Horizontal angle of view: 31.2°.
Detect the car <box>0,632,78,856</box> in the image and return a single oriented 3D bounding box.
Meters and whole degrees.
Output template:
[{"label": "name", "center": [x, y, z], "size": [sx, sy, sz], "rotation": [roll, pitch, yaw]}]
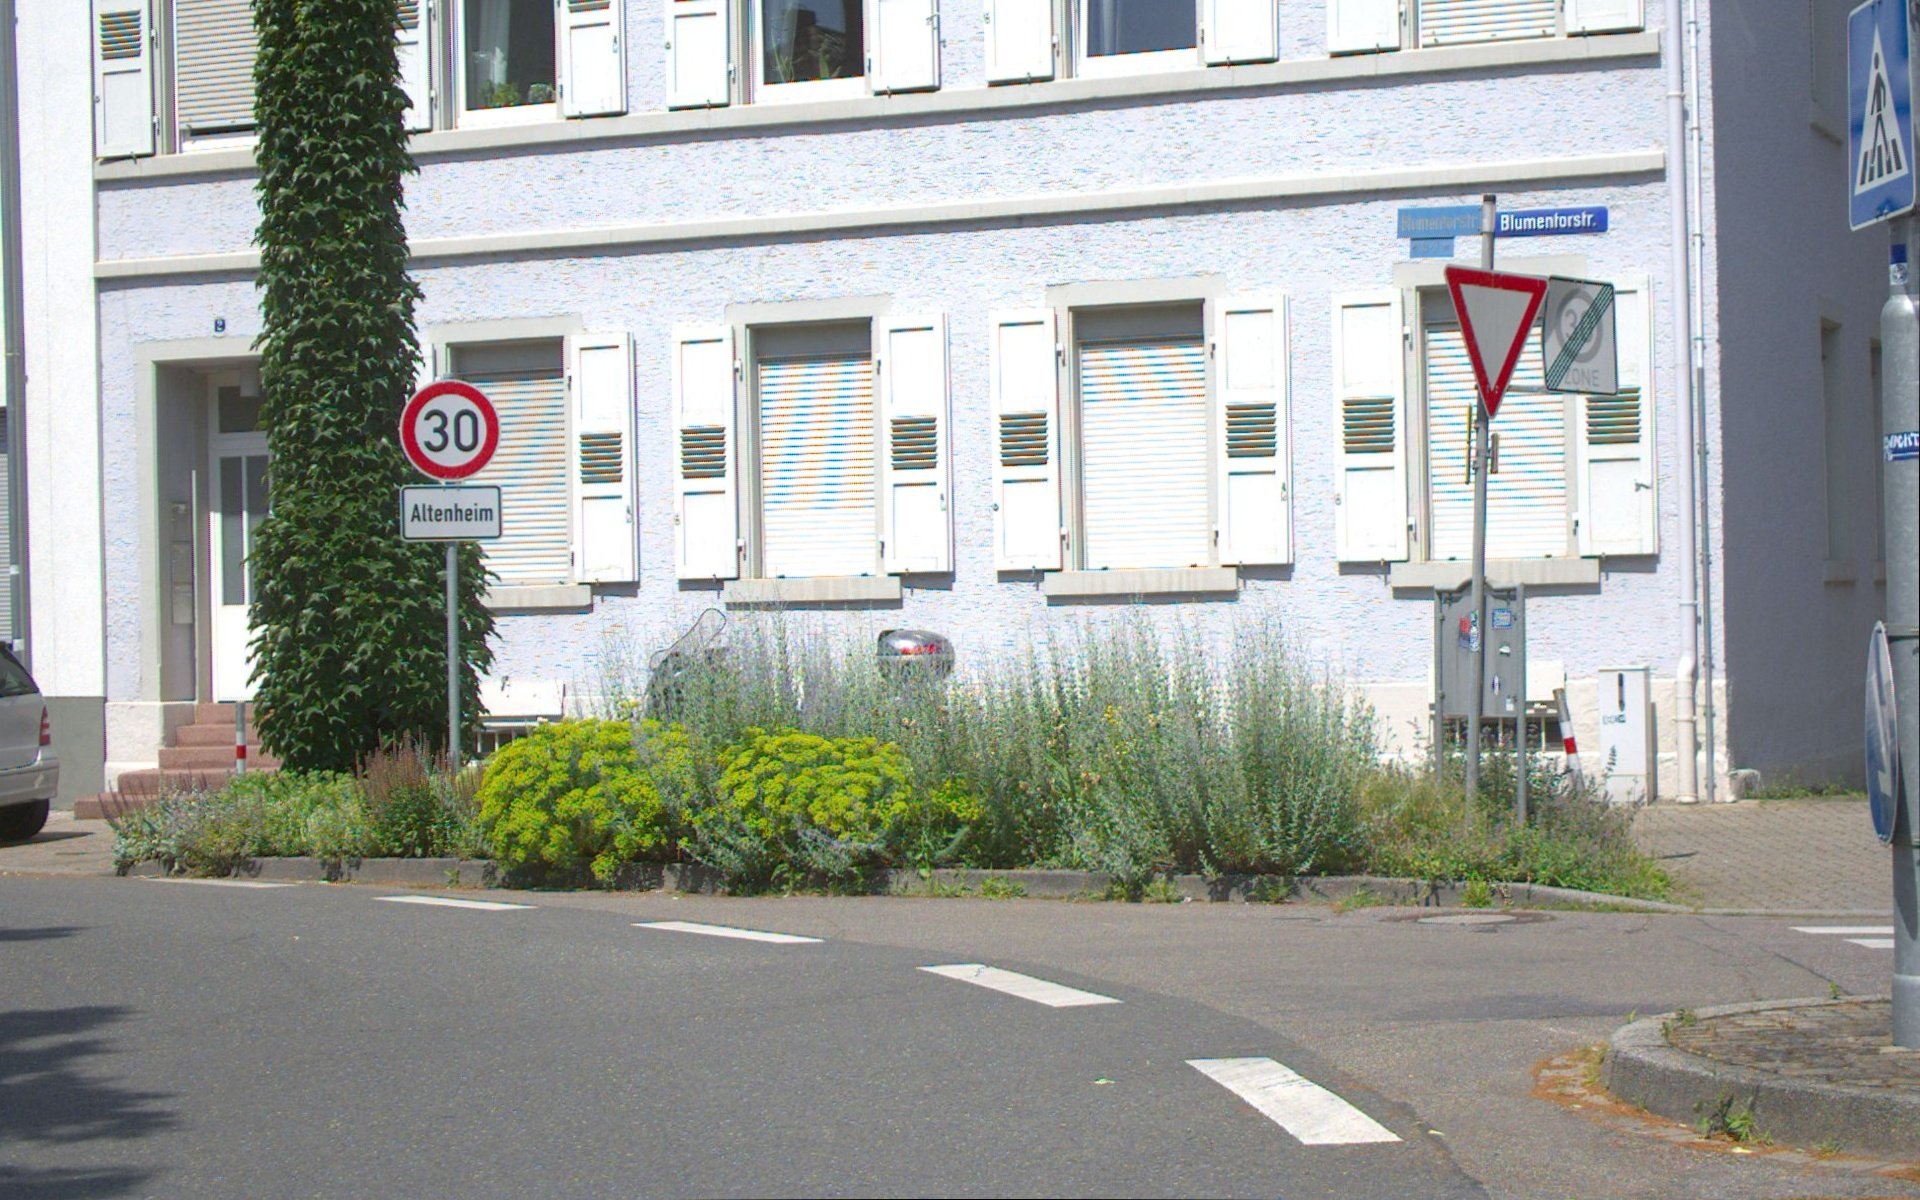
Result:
[{"label": "car", "center": [-8.342, 1.020, 25.049], "size": [3.612, 1.581, 1.581], "rotation": [0, -2, 30]}]
